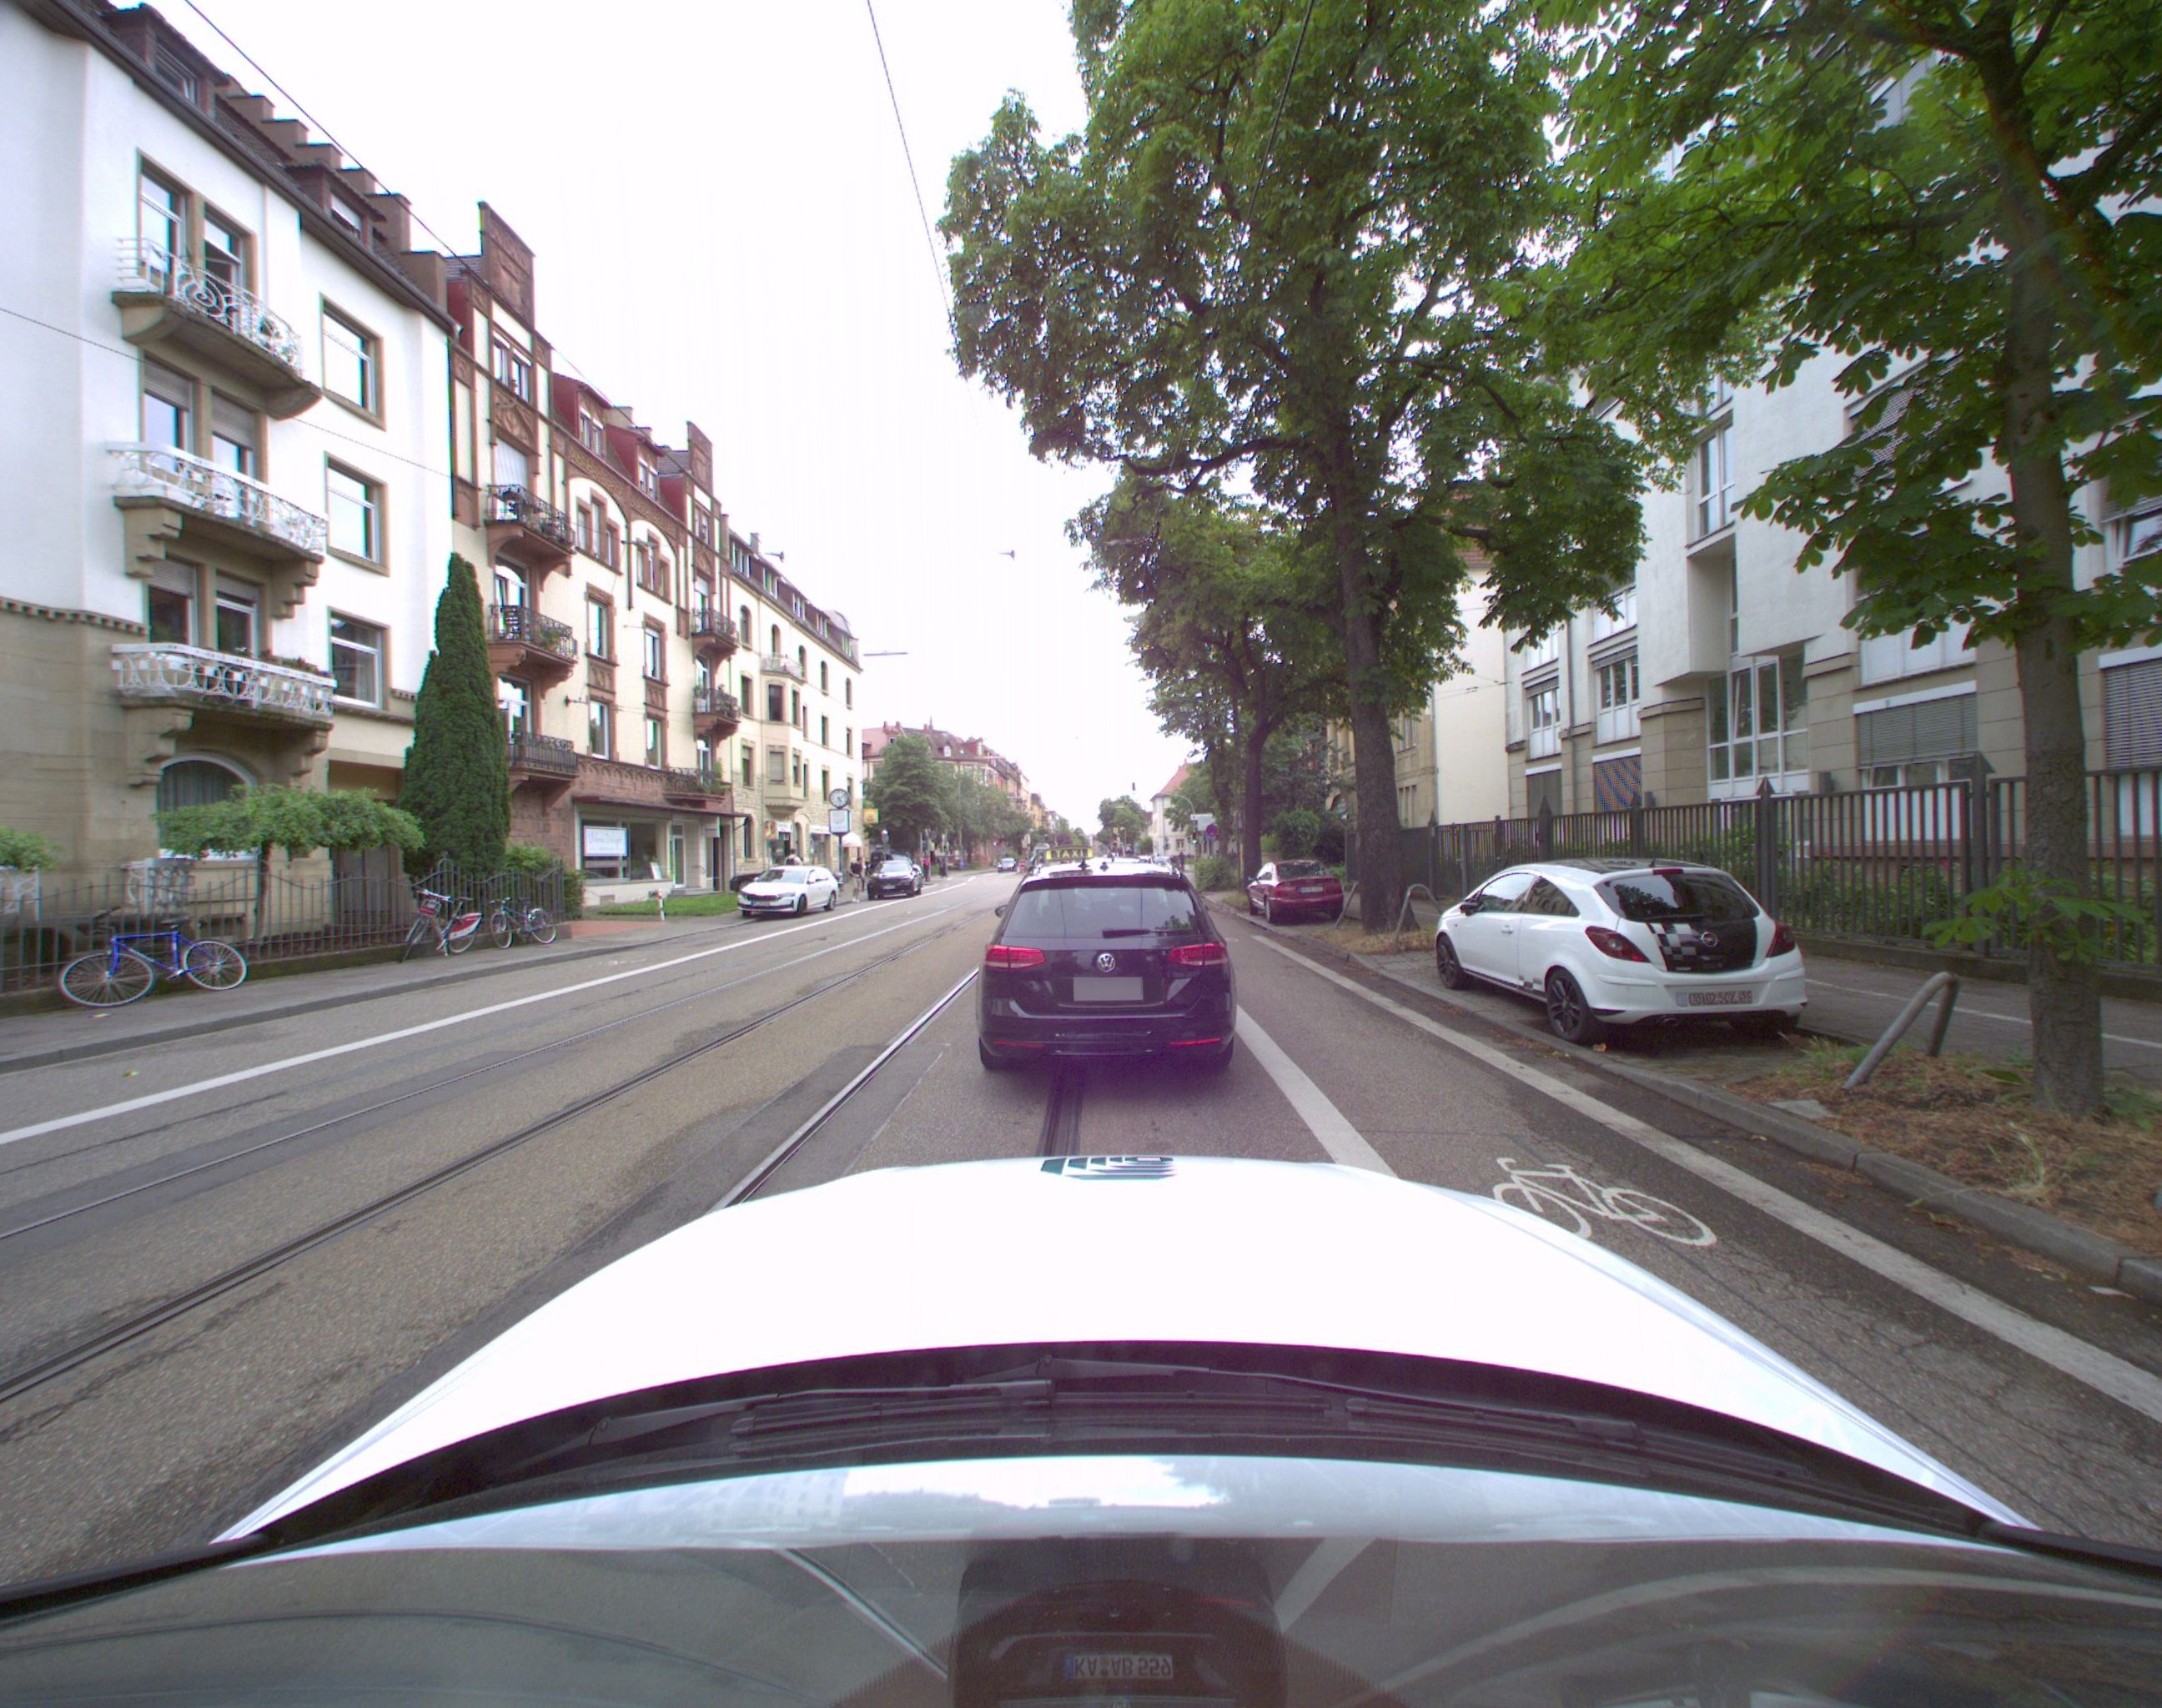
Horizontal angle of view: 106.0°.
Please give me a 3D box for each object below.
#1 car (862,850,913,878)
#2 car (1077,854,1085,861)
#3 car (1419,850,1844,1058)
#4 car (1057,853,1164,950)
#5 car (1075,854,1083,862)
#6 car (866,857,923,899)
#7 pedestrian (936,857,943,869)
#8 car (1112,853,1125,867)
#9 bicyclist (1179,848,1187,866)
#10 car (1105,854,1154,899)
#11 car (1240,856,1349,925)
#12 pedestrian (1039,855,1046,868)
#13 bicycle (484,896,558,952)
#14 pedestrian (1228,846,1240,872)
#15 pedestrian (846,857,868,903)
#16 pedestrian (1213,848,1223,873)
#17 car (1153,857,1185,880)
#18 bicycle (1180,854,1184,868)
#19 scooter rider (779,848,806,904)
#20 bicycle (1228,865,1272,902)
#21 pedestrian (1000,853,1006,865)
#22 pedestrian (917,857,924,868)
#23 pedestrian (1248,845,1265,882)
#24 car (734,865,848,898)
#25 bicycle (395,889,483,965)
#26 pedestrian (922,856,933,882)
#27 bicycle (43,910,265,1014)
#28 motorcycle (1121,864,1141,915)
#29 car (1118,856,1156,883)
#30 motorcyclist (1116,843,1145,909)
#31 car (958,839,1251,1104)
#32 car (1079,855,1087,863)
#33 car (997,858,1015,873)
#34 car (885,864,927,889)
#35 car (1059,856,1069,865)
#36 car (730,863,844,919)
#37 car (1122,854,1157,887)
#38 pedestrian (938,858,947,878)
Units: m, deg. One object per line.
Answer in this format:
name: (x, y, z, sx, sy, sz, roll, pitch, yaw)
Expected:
car: (-17.487, 0.912, 73.348, 2.197, 2.417, 5.316, -1, 0, -41)
car: (0.010, 0.814, 192.272, 1.715, 1.622, 3.864, -2, 0, 1)
car: (4.799, 0.731, 7.841, 1.596, 1.435, 3.779, -3, 0, 3)
car: (0.551, 0.779, 15.345, 1.717, 1.546, 4.002, -1, 0, 2)
car: (-0.391, 0.813, 178.571, 1.715, 1.622, 3.864, -2, 0, 1)
car: (-8.328, 1.033, 36.711, 1.881, 1.611, 4.875, -4, 0, -7)
pedestrian: (-18.742, 1.163, 107.911, 0.582, 1.521, 0.653, -2, -1, 37)
car: (5.861, 0.956, 126.741, 2.025, 2.014, 4.001, 0, -1, 2)
bicyclist: (9.092, 0.289, 72.312, 0.647, 1.568, 0.697, -2, 0, 9)
car: (1.765, 0.778, 30.508, 1.717, 1.546, 4.002, -1, 0, 2)
car: (5.079, 0.807, 19.910, 1.596, 1.399, 4.229, -3, 0, 2)
pedestrian: (-4.495, 0.856, 94.698, 0.711, 1.521, 0.590, -2, 0, 3)
bicycle: (-10.724, 1.326, 15.641, 0.331, 0.938, 1.516, -2, 0, 1)
pedestrian: (10.866, 0.340, 57.841, 0.582, 1.831, 0.605, -5, -1, 4)
pedestrian: (-9.161, 1.050, 33.226, 0.671, 1.844, 0.875, -2, 0, -25)
pedestrian: (10.324, 0.517, 61.480, 0.510, 1.831, 0.420, -5, -1, 18)
car: (6.320, 1.021, 58.856, 1.986, 1.577, 4.001, 0, -1, 2)
bicycle: (8.970, 0.646, 72.198, 0.295, 1.223, 1.434, -2, 0, 9)
scooter rider: (-10.561, 0.787, 29.857, 0.639, 2.013, 0.758, -2, 0, 1)
bicycle: (5.683, 0.970, 27.341, 1.915, 1.198, 0.428, 0, -2, -43)
pedestrian: (-10.424, 0.647, 108.857, 0.582, 1.521, 0.653, -2, -1, 37)
pedestrian: (-21.434, 1.142, 108.669, 0.582, 1.521, 0.653, -2, -1, 37)
pedestrian: (8.749, 0.455, 40.646, 0.630, 1.815, 0.726, -2, 0, -1)
car: (-12.918, 1.217, 36.532, 4.415, 1.370, 1.878, 1, 0, -3)
bicycle: (-10.568, 1.167, 13.459, 0.385, 1.102, 1.620, -2, 0, -9)
pedestrian: (-10.907, 1.054, 58.051, 0.621, 1.842, 0.609, -2, 0, -1)
bicycle: (-10.842, 1.223, 9.622, 0.356, 0.928, 1.663, -21, -1, 4)
motorcycle: (1.318, 0.915, 21.558, 0.445, 1.235, 1.907, -2, 0, 2)
car: (3.295, 0.855, 47.362, 1.881, 1.408, 4.009, -2, 0, 8)
motorcyclist: (1.322, 0.574, 21.668, 0.700, 1.692, 0.805, -2, 0, 1)
car: (0.204, 0.701, 6.844, 1.717, 1.546, 4.002, -1, 0, 2)
car: (0.619, 1.244, 212.477, 1.987, 2.014, 4.000, 0, -1, 1)
car: (-7.807, 1.216, 85.075, 1.604, 1.422, 3.484, -3, 0, -1)
car: (-10.568, 1.325, 49.396, 1.644, 1.361, 4.128, 1, 0, -1)
car: (-3.122, 1.138, 151.379, 1.715, 1.622, 3.864, -2, 0, 1)
car: (-8.918, 1.062, 25.145, 1.741, 1.484, 4.609, -2, 0, 1)
car: (2.916, 0.814, 40.823, 1.600, 1.556, 3.579, 0, -1, 2)
pedestrian: (-11.335, 1.141, 66.823, 0.587, 1.663, 0.839, -2, 0, -2)
